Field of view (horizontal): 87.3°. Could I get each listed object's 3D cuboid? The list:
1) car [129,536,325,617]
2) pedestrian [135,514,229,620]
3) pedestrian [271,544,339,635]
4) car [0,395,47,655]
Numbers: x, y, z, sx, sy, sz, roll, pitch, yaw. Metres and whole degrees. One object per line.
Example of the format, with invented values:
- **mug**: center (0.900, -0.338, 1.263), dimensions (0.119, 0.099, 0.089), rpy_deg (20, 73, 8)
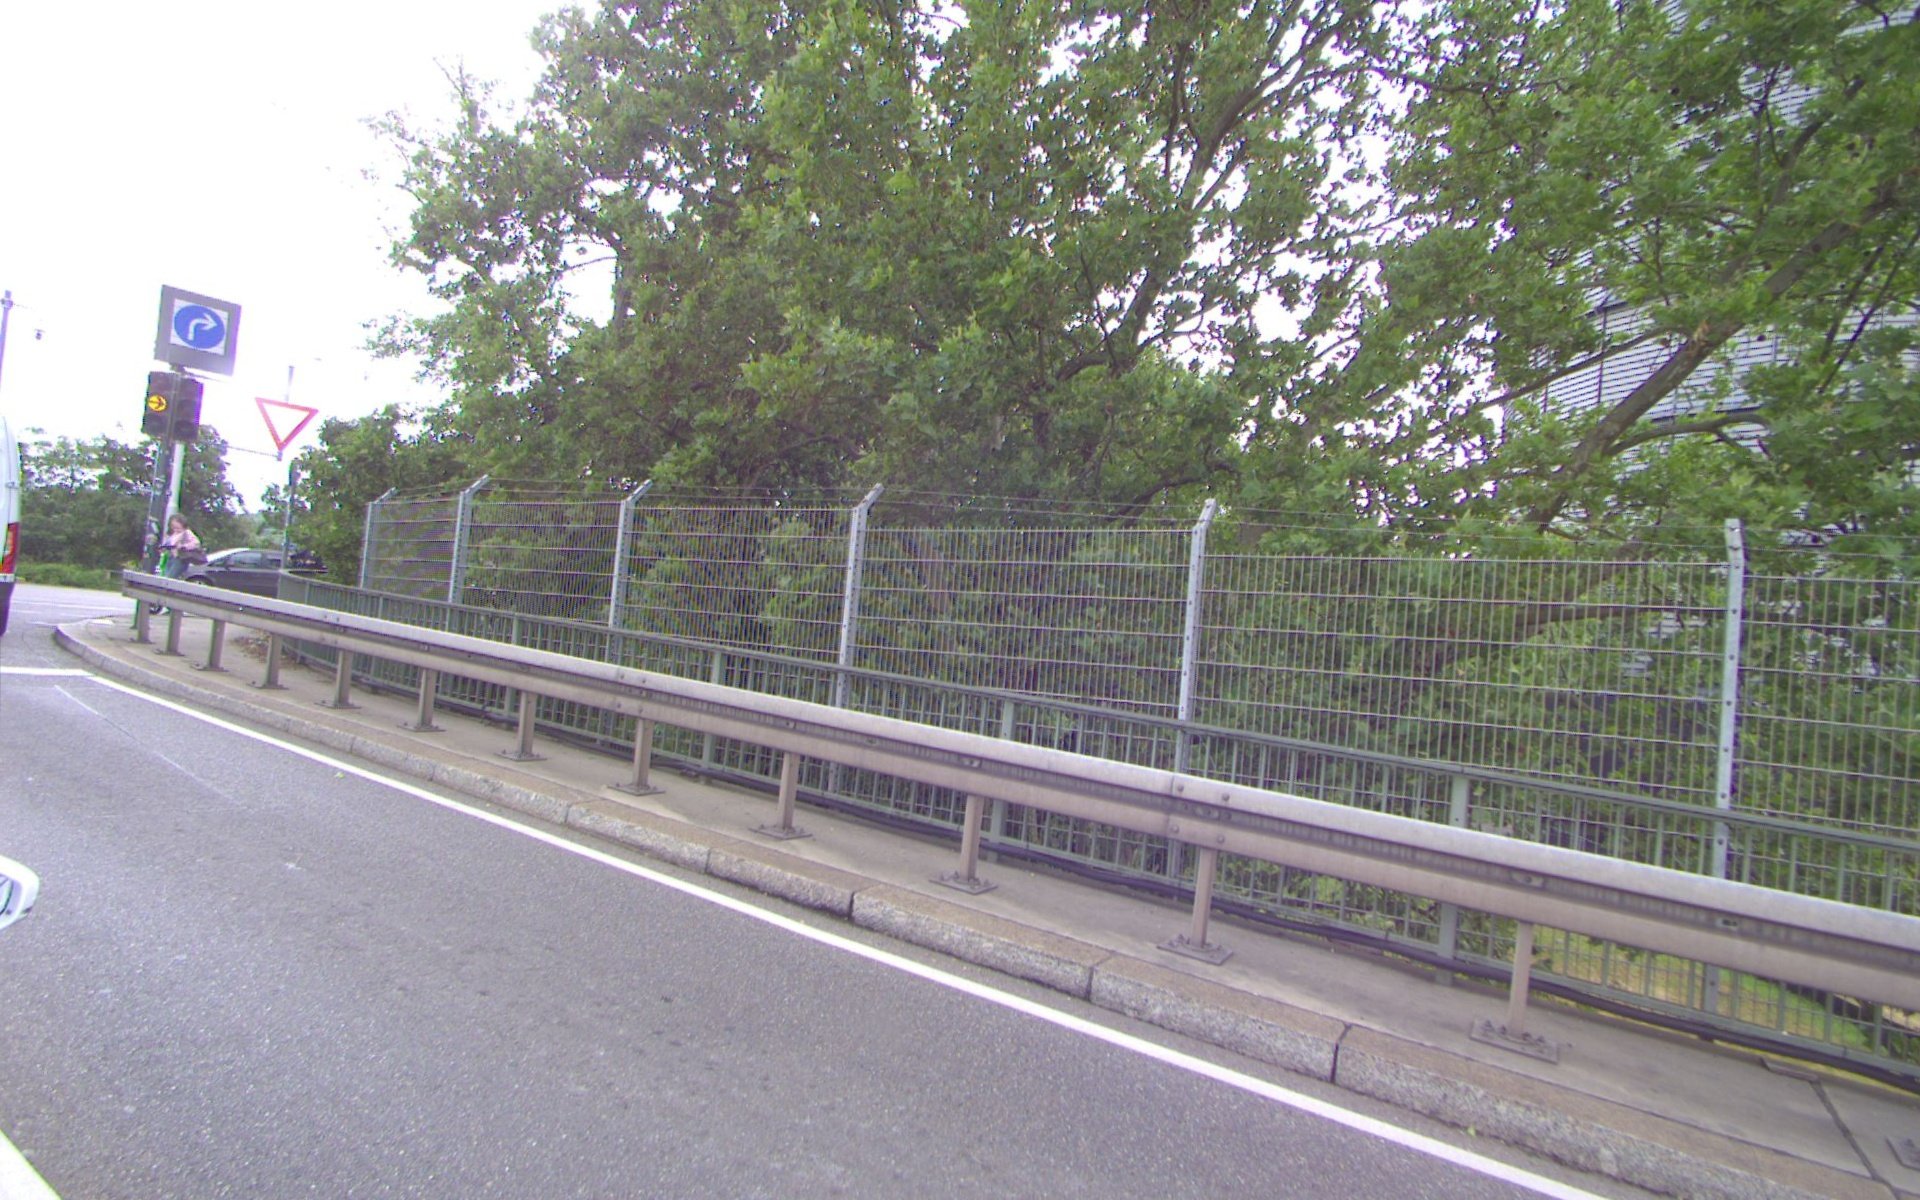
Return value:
- **car**: center (-20.509, -0.616, 28.303), dimensions (1.784, 1.684, 3.991), rpy_deg (7, -1, 34)
- **pedestrian**: center (-13.258, -0.556, 17.149), dimensions (0.963, 1.698, 0.834), rpy_deg (4, -1, 29)
- **pedestrian**: center (-12.689, -0.206, 19.509), dimensions (0.773, 1.639, 0.675), rpy_deg (7, 0, -17)
- **car**: center (-13.484, -1.191, 12.591), dimensions (6.684, 2.817, 2.108), rpy_deg (7, -1, 41)
